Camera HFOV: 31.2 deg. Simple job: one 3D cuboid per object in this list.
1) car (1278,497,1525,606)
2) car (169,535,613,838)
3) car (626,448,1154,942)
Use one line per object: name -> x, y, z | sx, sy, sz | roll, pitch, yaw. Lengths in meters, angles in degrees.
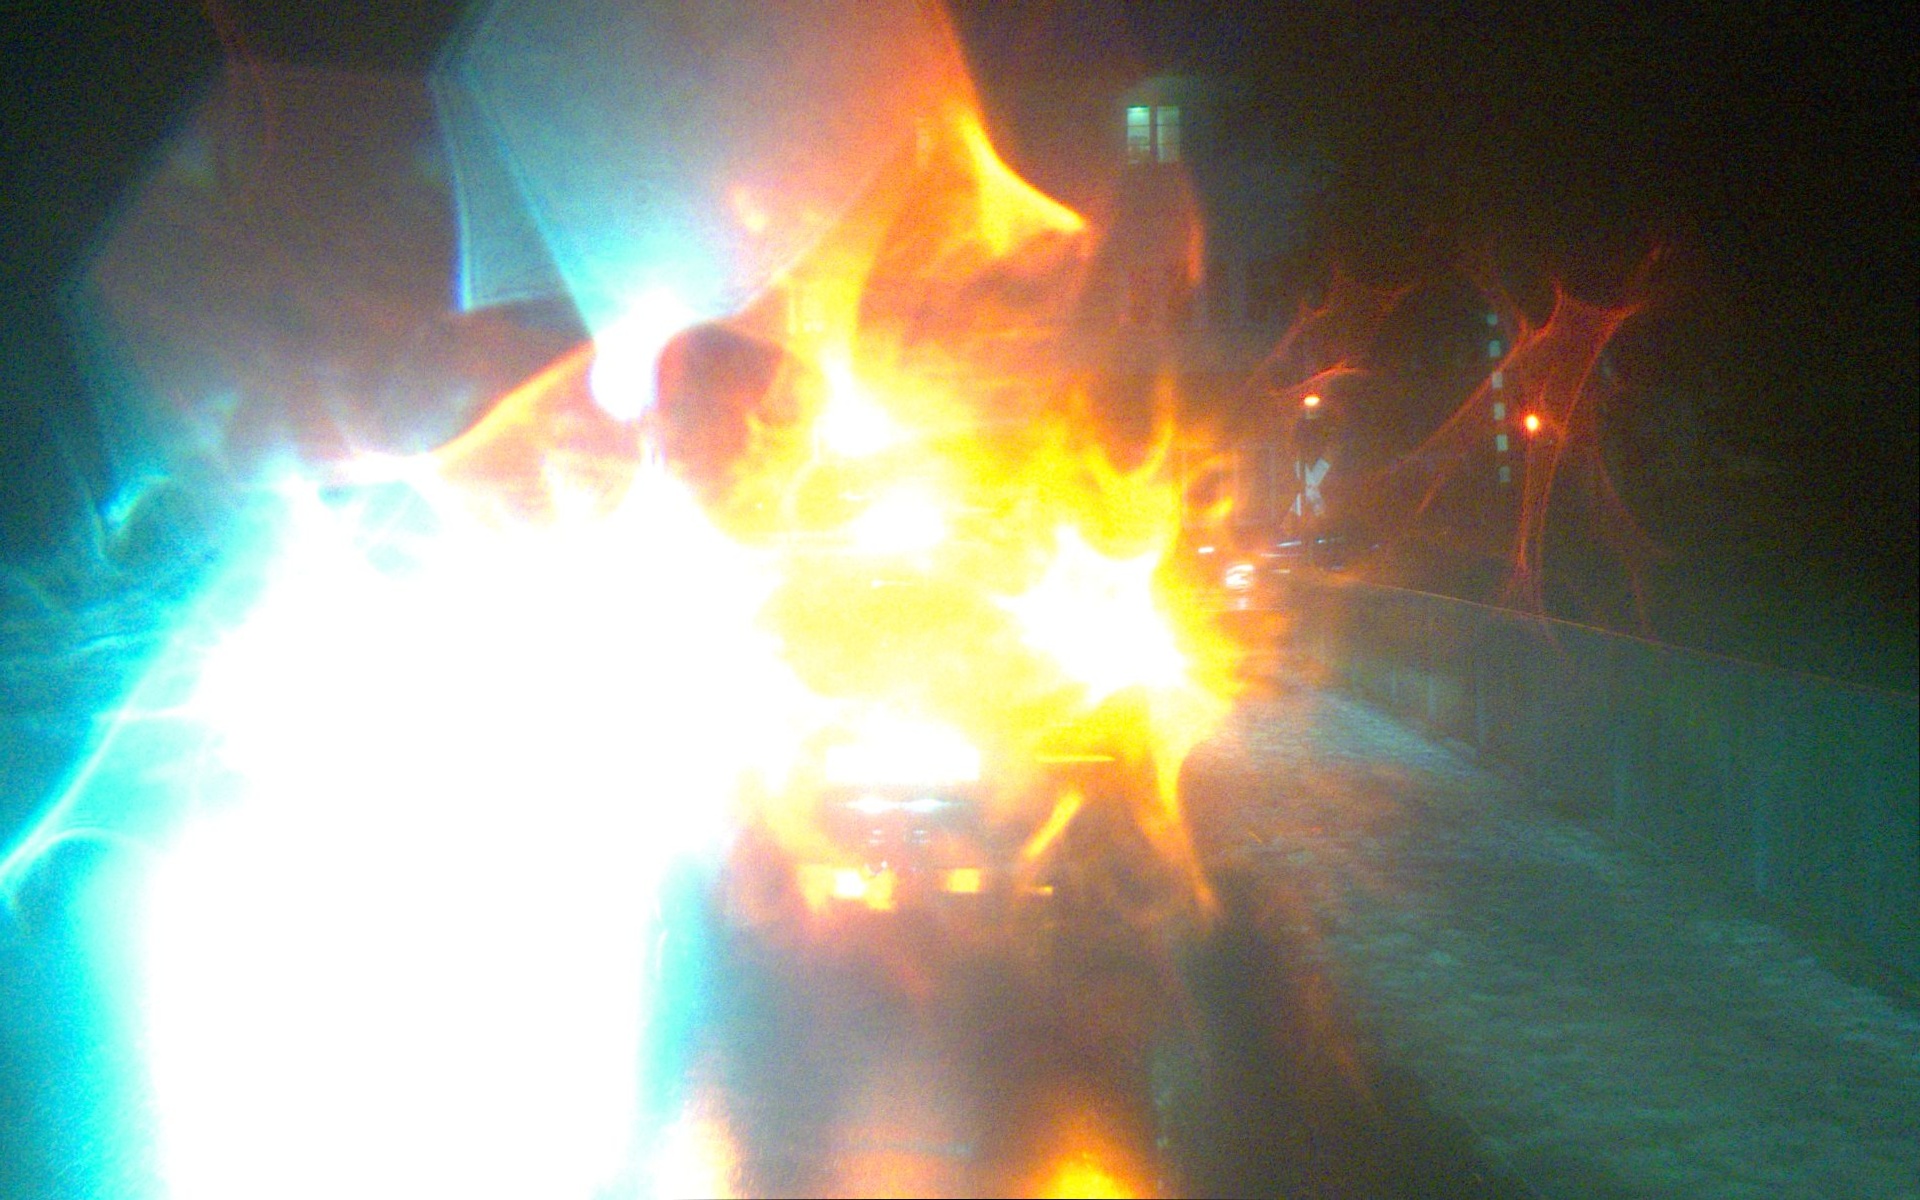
car -> 7.761, -0.842, 60.413 | 4.201, 1.793, 1.999 | 1, 0, 8
car -> -3.380, 0.470, 21.272 | 1.874, 1.540, 4.355 | -4, 0, 1
car -> -0.198, 0.270, 13.743 | 1.791, 1.675, 3.904 | -1, 2, 1
